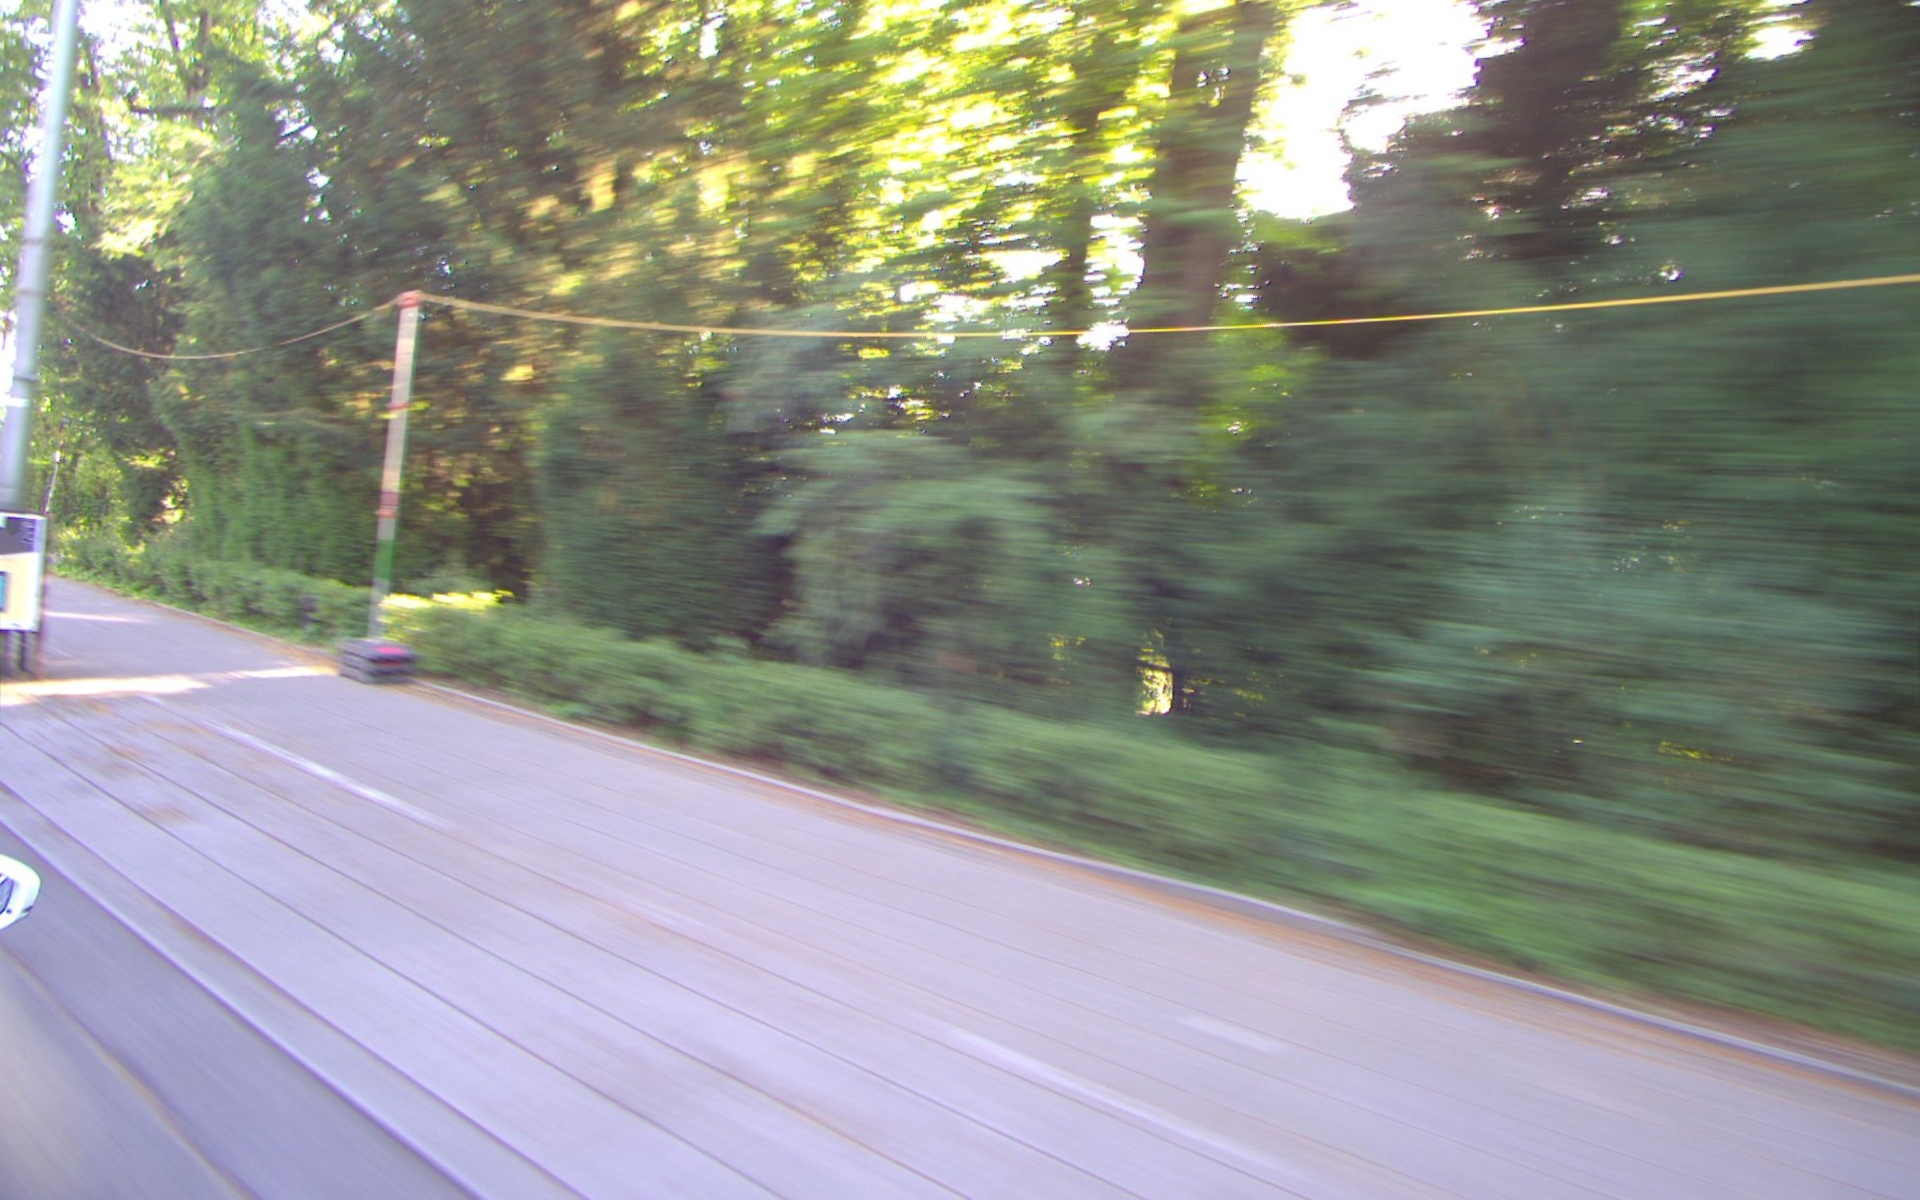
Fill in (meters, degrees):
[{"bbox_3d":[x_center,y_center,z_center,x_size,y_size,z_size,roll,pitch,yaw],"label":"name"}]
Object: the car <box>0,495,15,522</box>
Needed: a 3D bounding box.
[{"bbox_3d":[-58.590,-5.623,60.831,1.644,1.583,2.843,7,-1,-37],"label":"car"}]
